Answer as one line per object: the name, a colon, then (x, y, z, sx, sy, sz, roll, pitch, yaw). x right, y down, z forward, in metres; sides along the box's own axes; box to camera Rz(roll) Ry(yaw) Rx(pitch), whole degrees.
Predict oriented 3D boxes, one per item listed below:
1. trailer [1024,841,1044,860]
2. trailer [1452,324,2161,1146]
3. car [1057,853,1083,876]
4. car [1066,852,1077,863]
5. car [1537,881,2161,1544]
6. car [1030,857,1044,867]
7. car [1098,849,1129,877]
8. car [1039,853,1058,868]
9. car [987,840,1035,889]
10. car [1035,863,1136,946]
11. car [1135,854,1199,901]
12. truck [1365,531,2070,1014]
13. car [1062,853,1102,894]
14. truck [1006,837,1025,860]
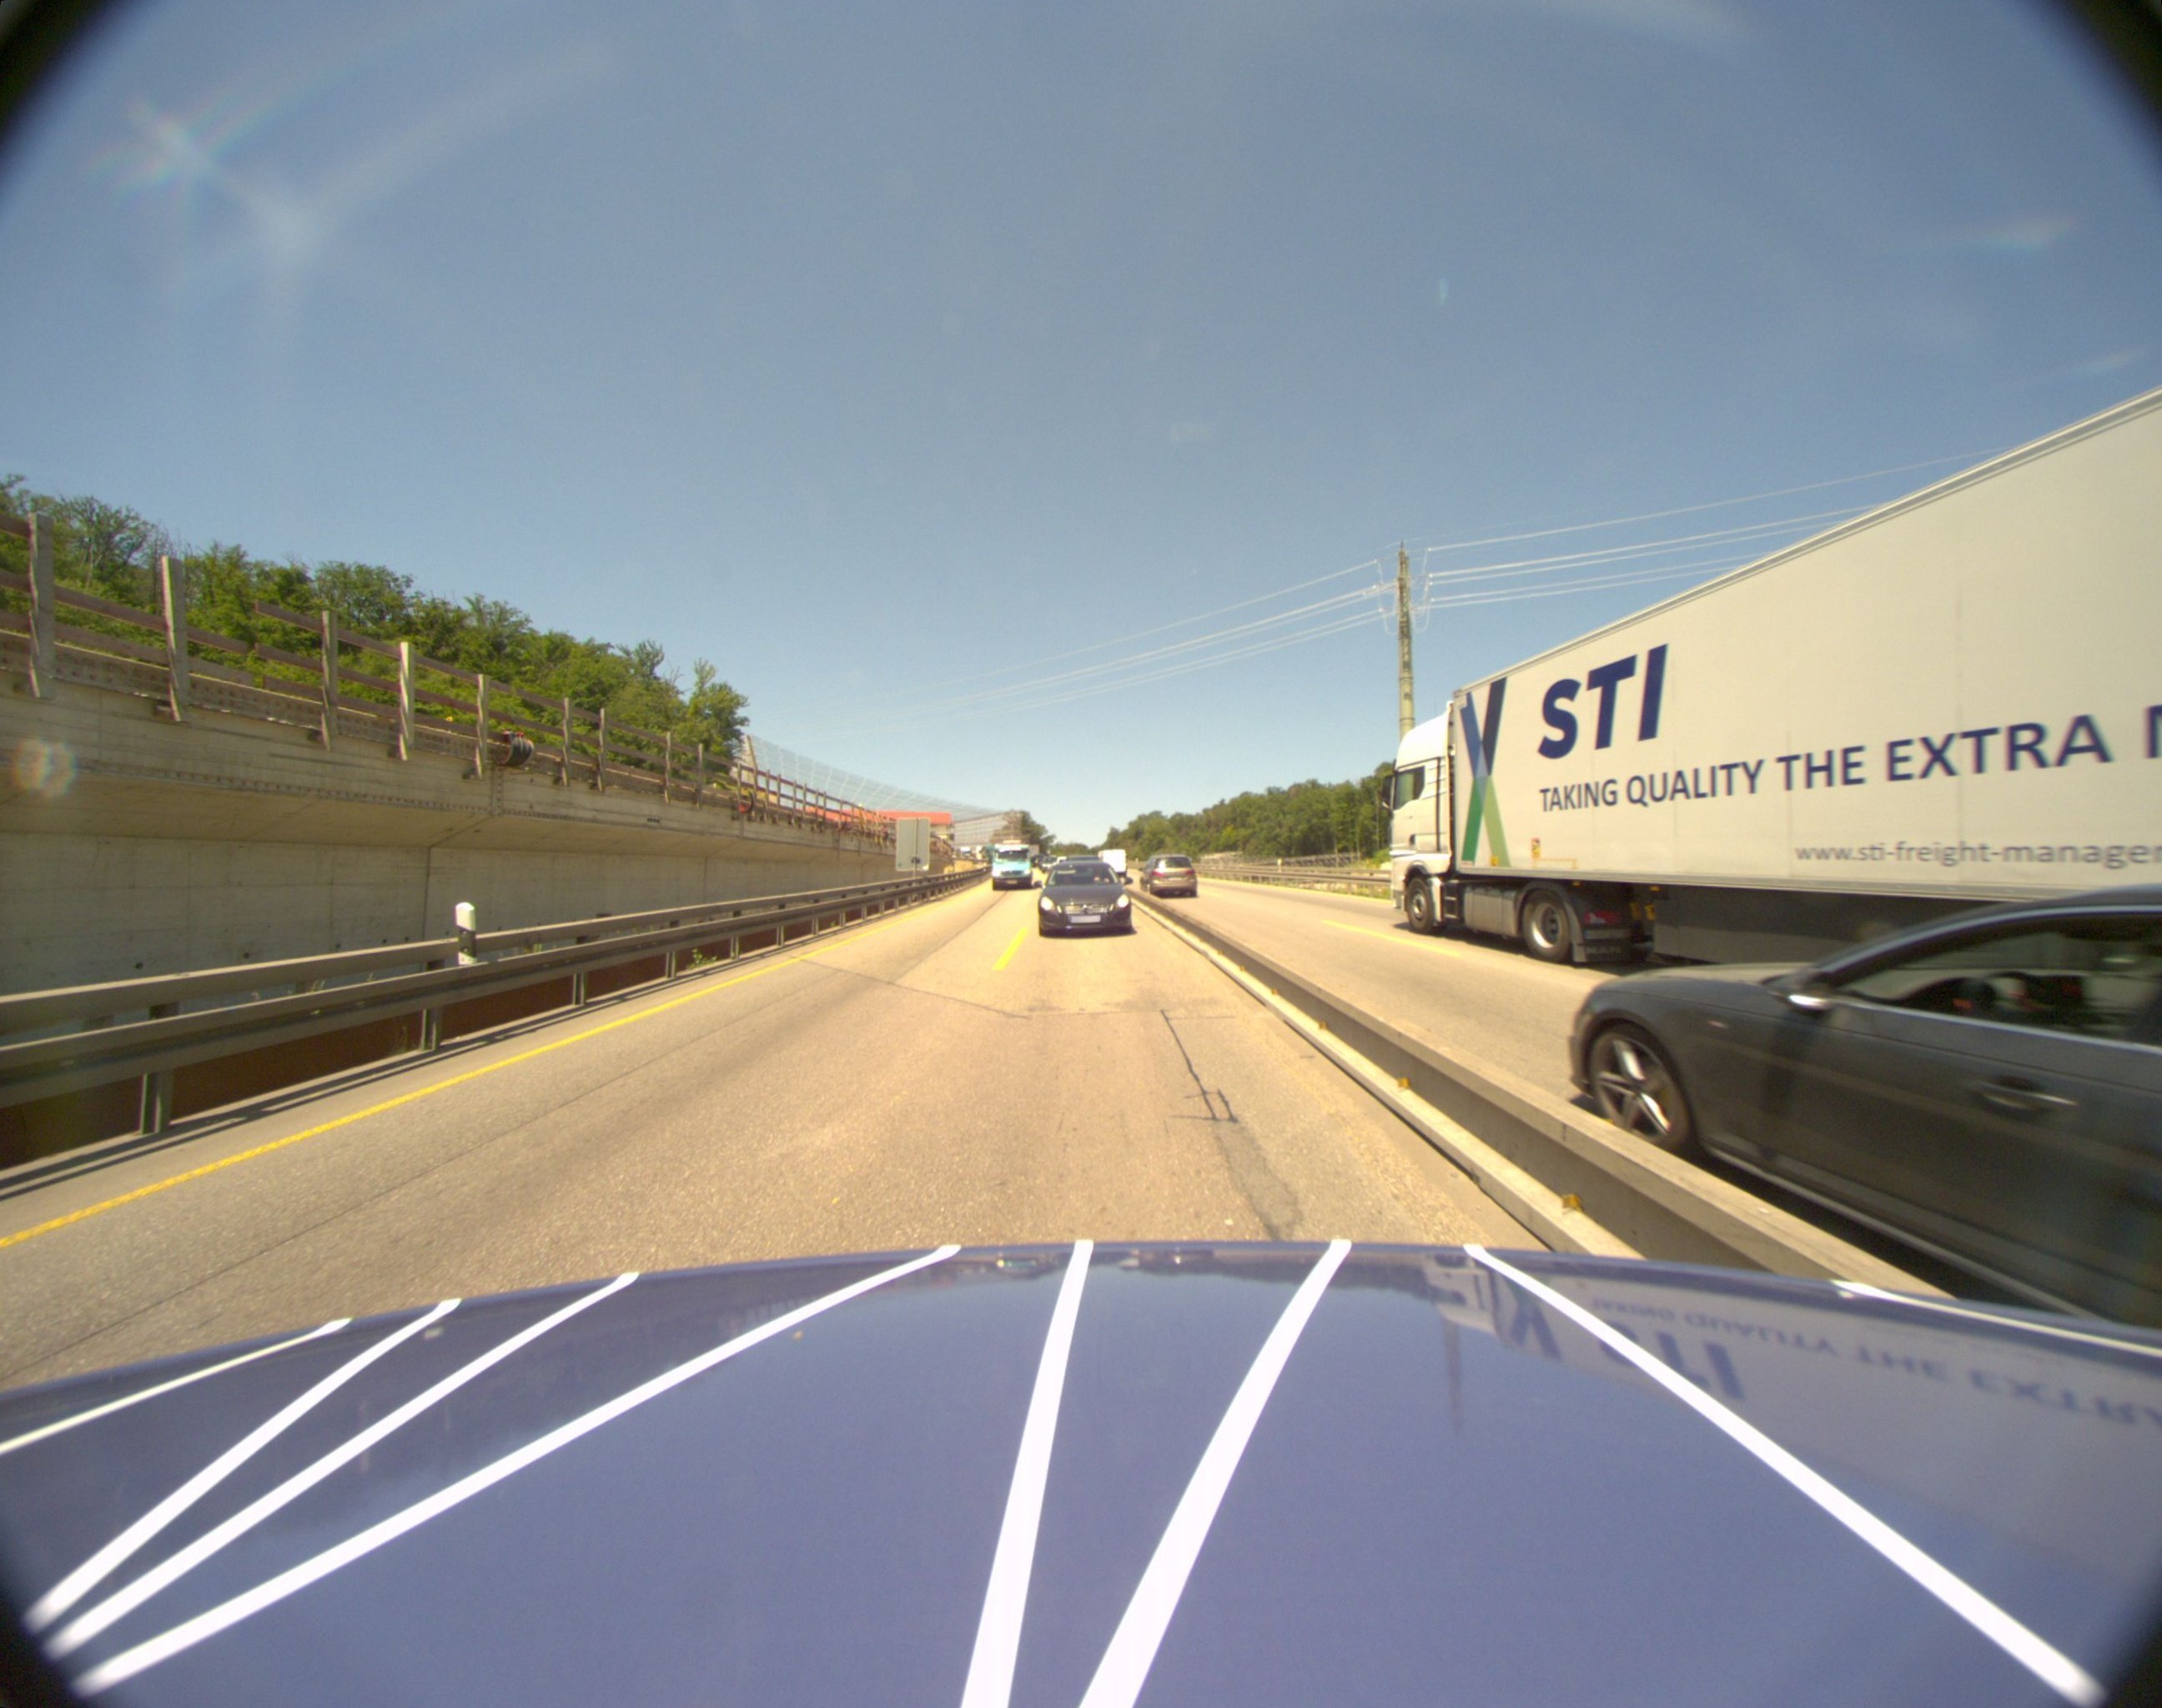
trailer: (-11.785, -0.763, 189.356, 3.500, 4.460, 12.914, -2, 0, -10)
trailer: (7.385, -0.664, 4.901, 3.260, 4.353, 14.058, -2, 0, 1)
car: (-0.768, 0.726, 55.150, 1.736, 1.557, 3.619, -2, 1, 0)
car: (-1.934, 0.674, 153.591, 1.999, 1.999, 4.856, 0, 0, -1)
car: (3.438, 0.896, 1.942, 1.795, 1.444, 4.634, 0, 0, 1)
car: (-6.132, 1.139, 106.630, 1.648, 1.366, 3.342, -2, 1, -8)
car: (2.398, 0.613, 56.564, 1.999, 1.999, 4.856, 0, 0, -1)
car: (-3.120, 0.588, 73.524, 1.647, 1.366, 3.344, -2, 0, 1)
car: (-3.607, 0.488, 40.379, 2.217, 2.312, 6.899, -1, 0, -3)
car: (-0.027, 0.956, 16.325, 1.844, 1.475, 4.562, -1, 0, -3)
car: (3.123, 0.815, 28.413, 1.850, 1.565, 3.999, -1, 0, -1)
truck: (7.433, -0.773, 11.145, 3.312, 4.337, 8.300, -2, 1, 0)
car: (0.049, 0.749, 31.142, 1.519, 1.543, 3.860, -1, 1, 1)
truck: (-10.290, -0.839, 118.150, 2.472, 3.464, 9.861, -2, 0, -7)
